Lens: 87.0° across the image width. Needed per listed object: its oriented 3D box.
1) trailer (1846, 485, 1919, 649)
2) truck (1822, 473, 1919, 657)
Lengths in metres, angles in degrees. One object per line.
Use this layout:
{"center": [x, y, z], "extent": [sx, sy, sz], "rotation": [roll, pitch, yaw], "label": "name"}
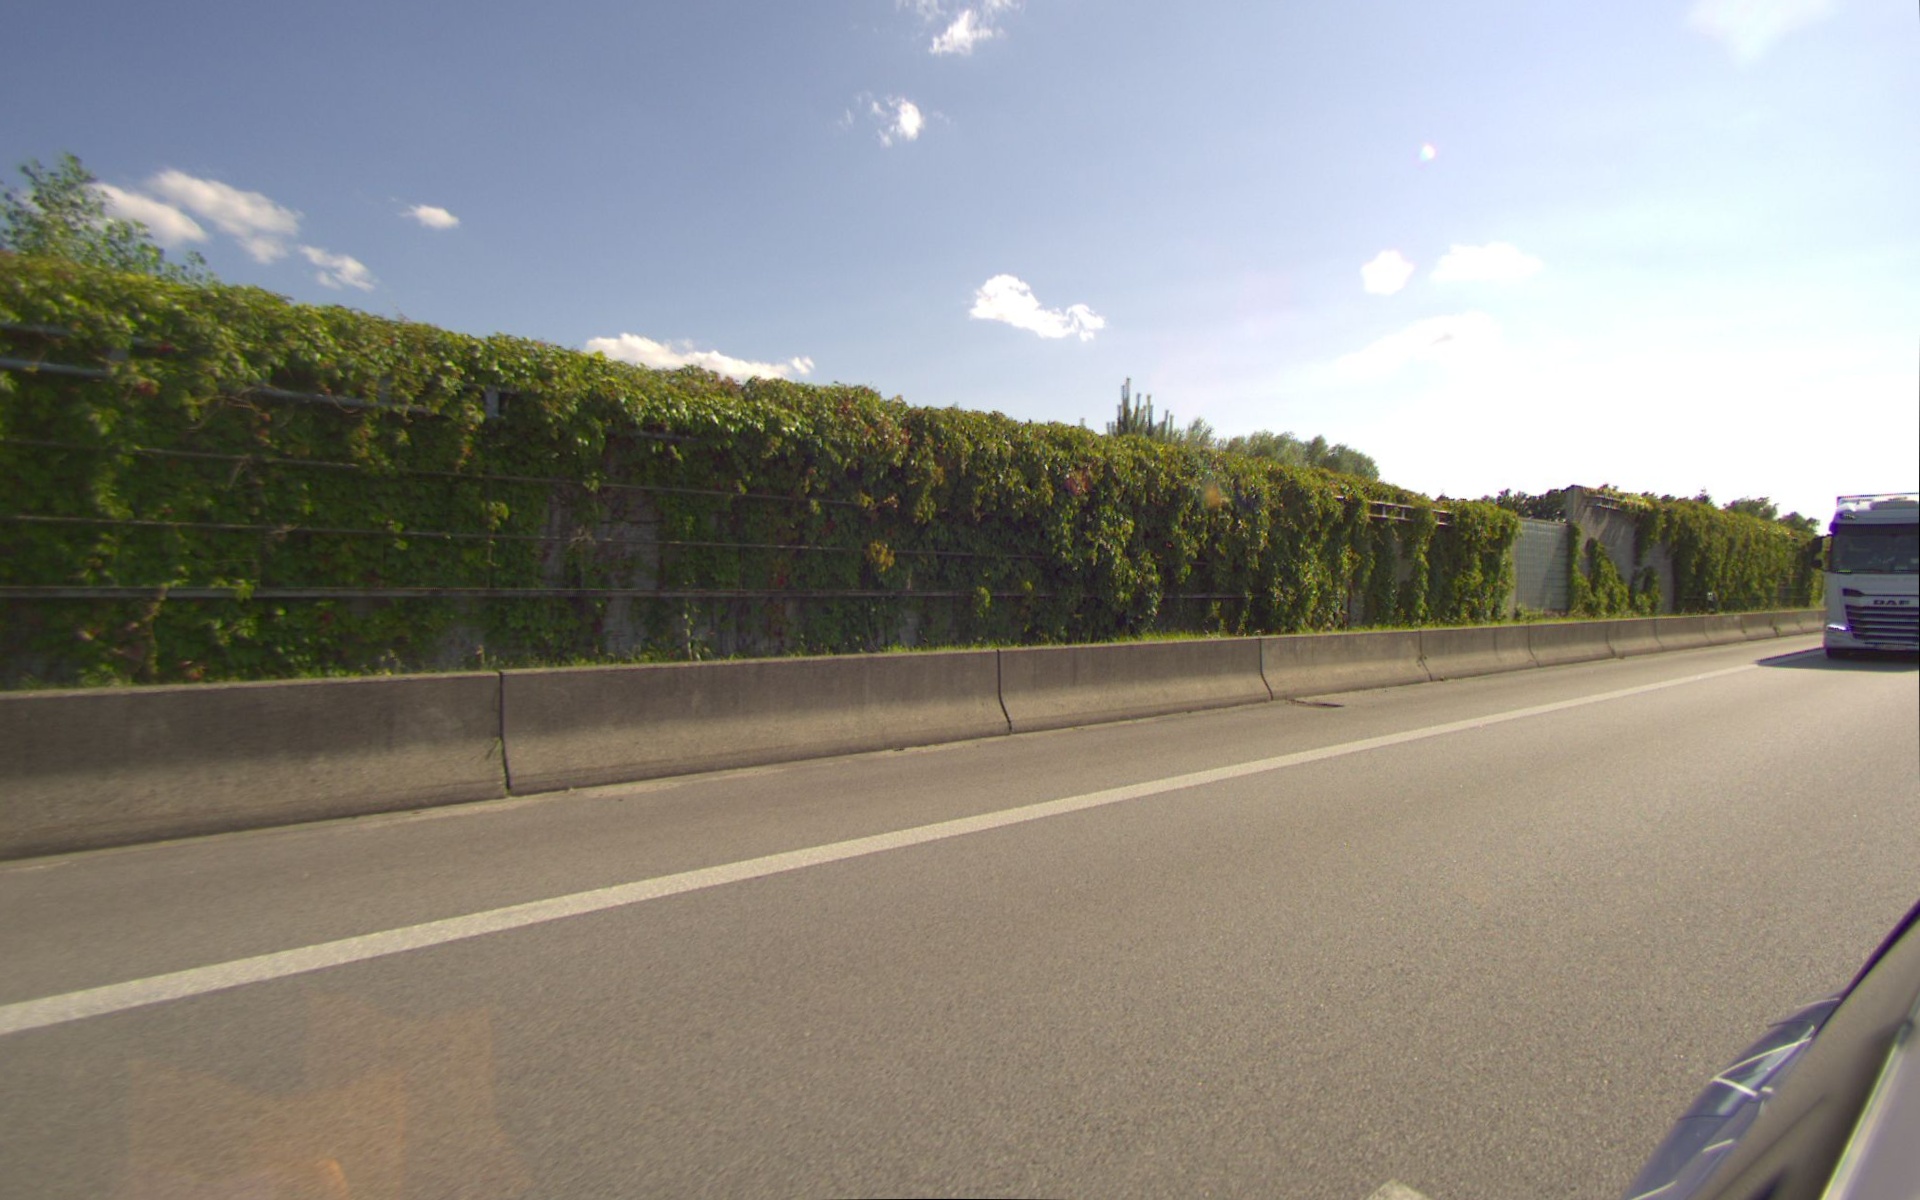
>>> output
{"center": [28.771, -0.827, 29.521], "extent": [13.919, 4.015, 2.823], "rotation": [0, 2, -43], "label": "trailer"}
{"center": [23.375, -0.781, 24.563], "extent": [6.925, 4.015, 2.844], "rotation": [0, 2, -43], "label": "truck"}
